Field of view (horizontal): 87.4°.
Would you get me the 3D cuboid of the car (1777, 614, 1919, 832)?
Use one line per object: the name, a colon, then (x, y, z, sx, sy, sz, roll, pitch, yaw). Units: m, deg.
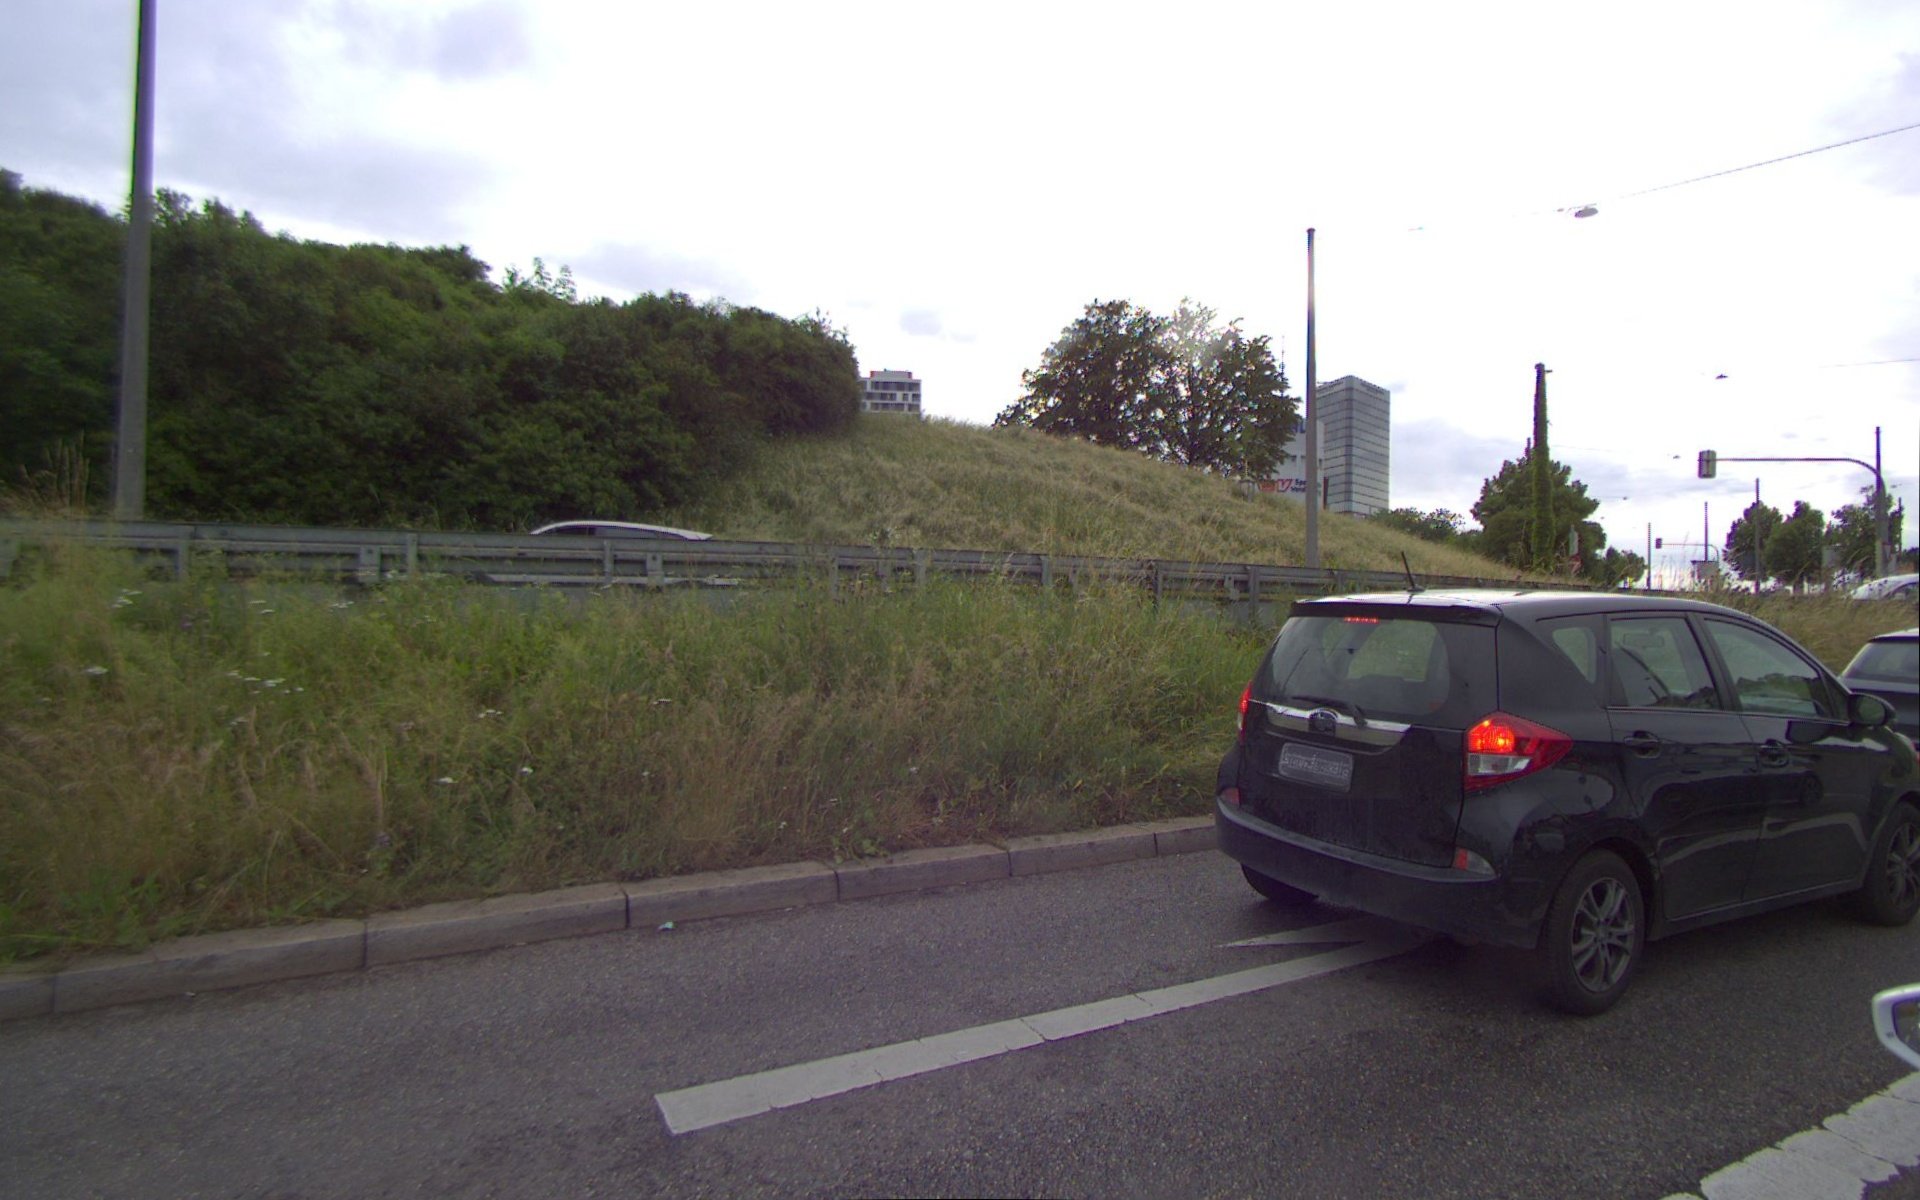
car: (8.389, 0.874, 7.703, 4.058, 1.479, 1.698, 1, -1, -25)

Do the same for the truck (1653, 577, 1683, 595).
truck: (133.116, -2.686, 188.966, 3.205, 3.116, 6.172, 4, 3, 22)

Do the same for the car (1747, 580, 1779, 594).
car: (98.097, -1.537, 122.744, 1.962, 1.497, 4.499, 2, -1, 25)

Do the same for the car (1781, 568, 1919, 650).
car: (23.116, 0.259, 24.336, 4.604, 1.874, 1.822, 2, 0, 17)

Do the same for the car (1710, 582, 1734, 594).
car: (116.639, -1.857, 153.800, 2.096, 1.818, 4.734, 3, 2, 27)

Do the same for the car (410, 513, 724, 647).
car: (-5.137, -0.231, 13.199, 3.634, 1.537, 1.727, 1, 1, -30)

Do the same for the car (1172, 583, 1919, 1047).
car: (3.048, 0.731, 4.931, 3.730, 1.524, 1.635, 1, 1, -28)
